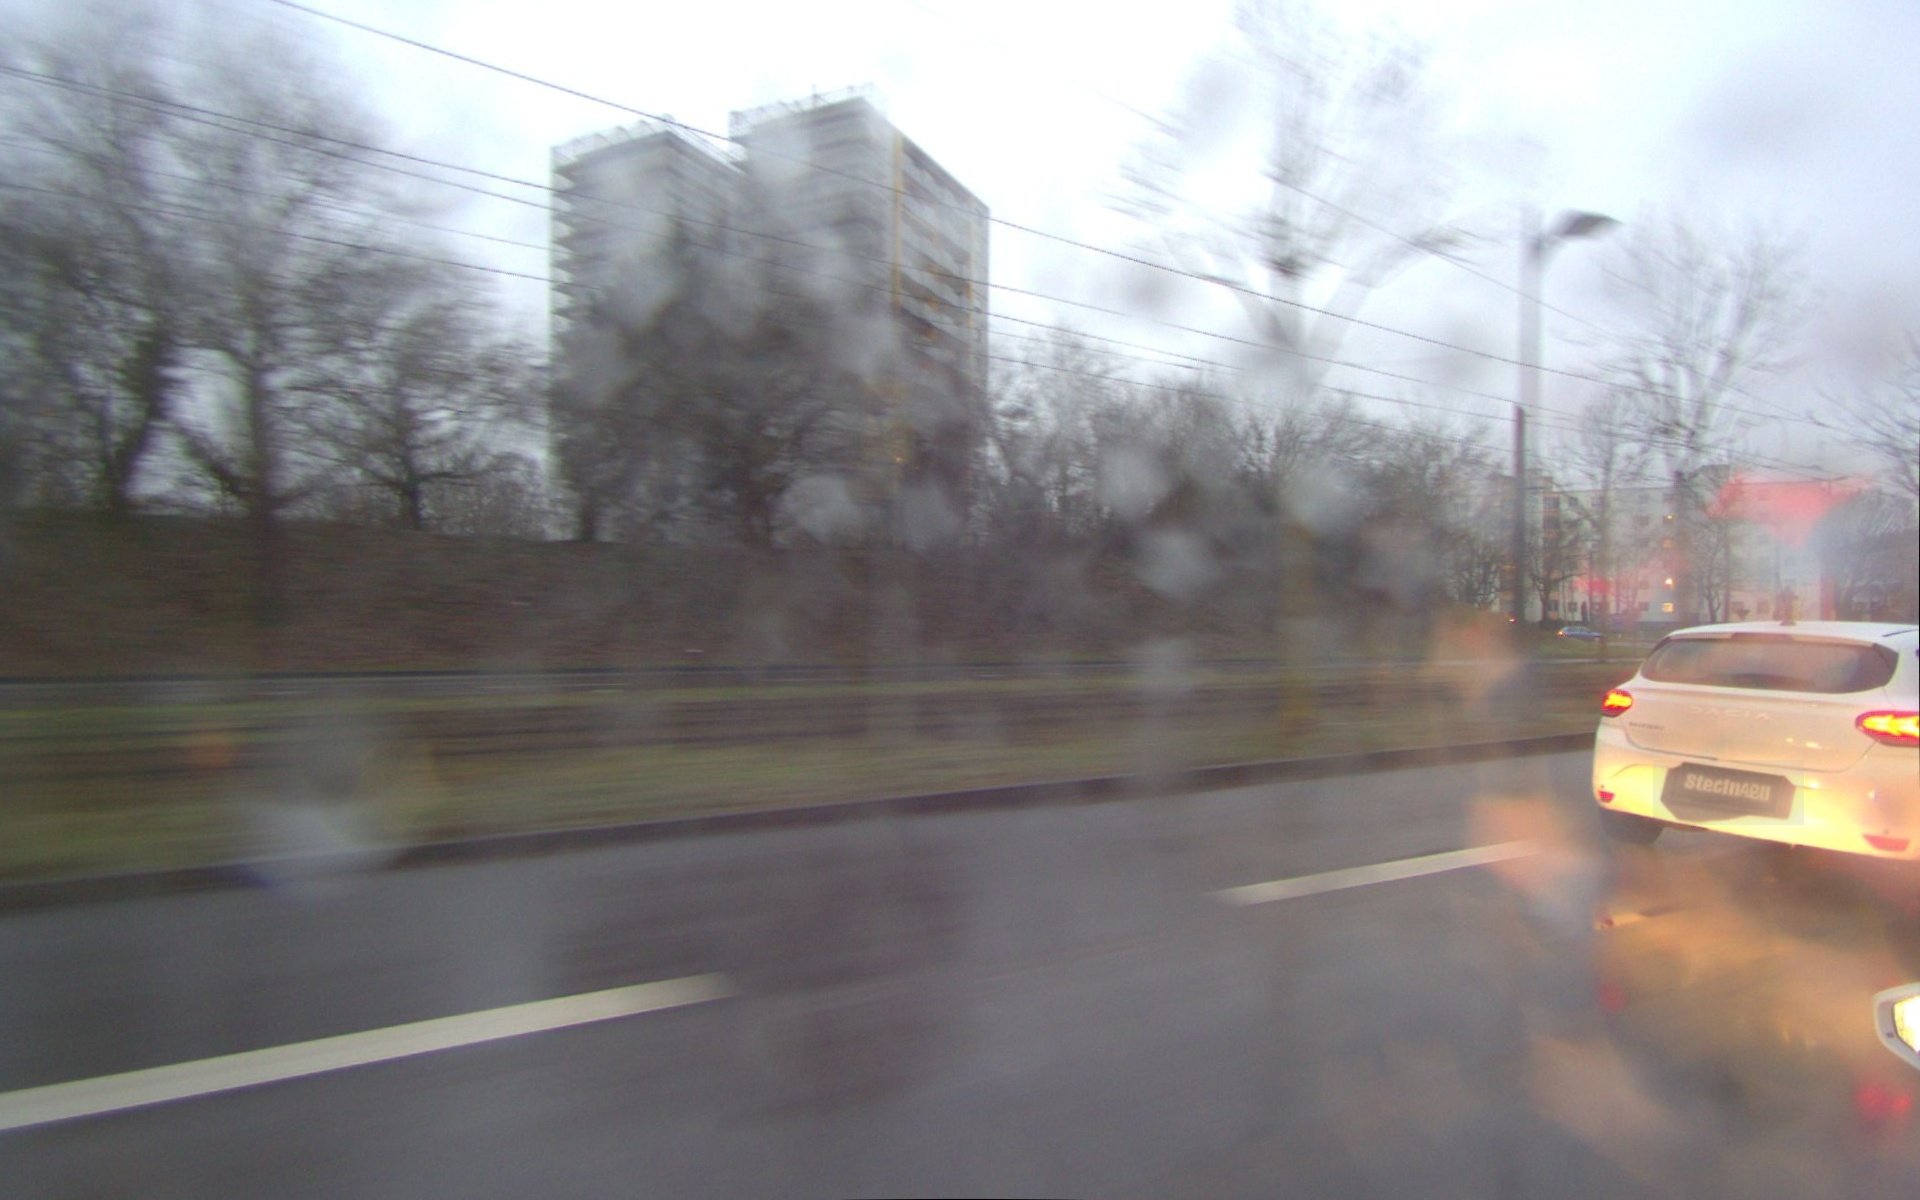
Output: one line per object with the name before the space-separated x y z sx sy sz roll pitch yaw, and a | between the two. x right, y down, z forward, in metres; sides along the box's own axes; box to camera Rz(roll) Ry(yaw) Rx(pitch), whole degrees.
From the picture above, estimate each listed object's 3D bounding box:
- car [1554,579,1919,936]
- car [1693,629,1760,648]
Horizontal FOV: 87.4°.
car | 5.848 0.783 6.489 4.098 1.670 1.706 1 -1 -30
car | 64.885 3.268 85.071 4.365 1.565 1.847 -1 -2 33
